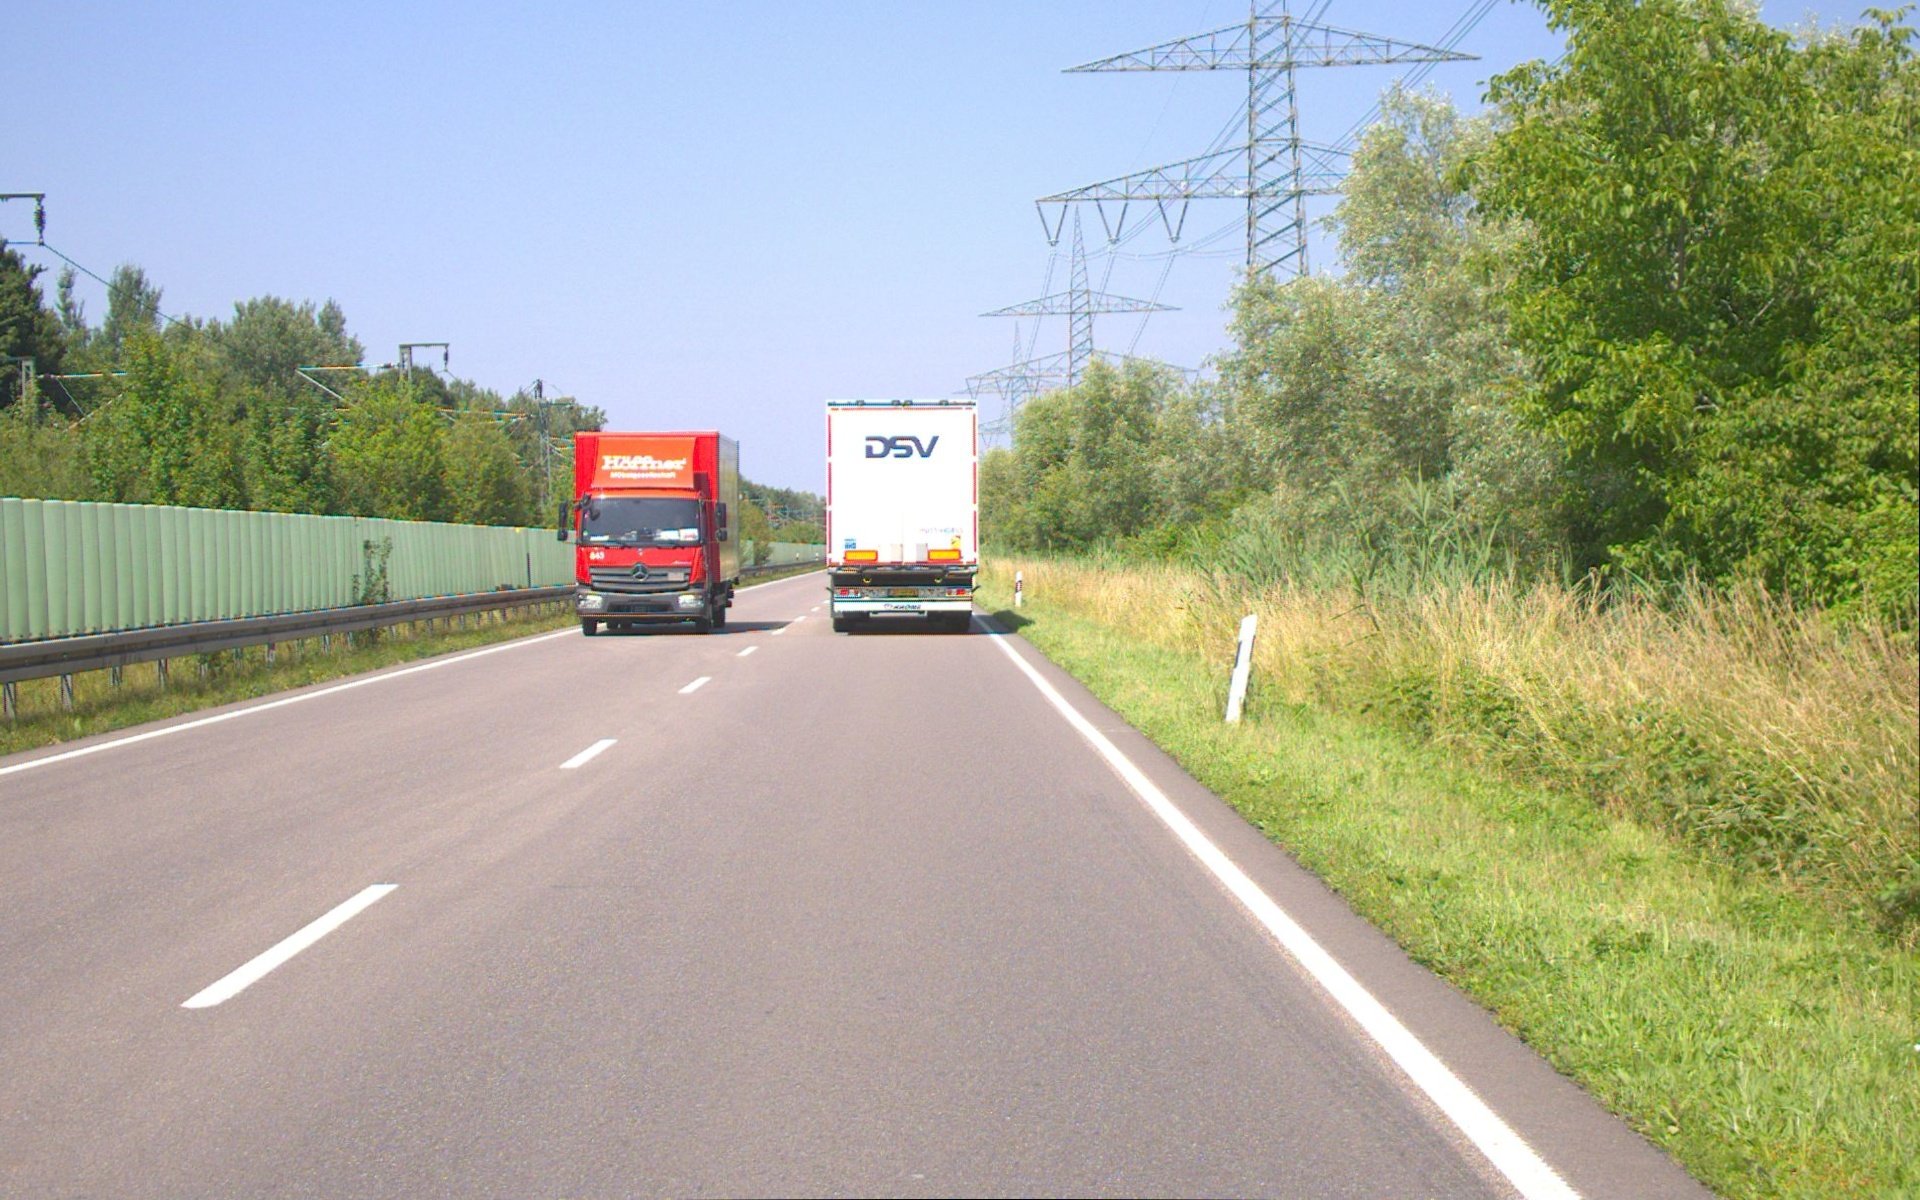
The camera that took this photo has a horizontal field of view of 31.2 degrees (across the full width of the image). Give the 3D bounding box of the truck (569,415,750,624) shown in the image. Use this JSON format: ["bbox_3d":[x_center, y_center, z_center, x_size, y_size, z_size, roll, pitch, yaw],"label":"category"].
[{"bbox_3d":[-5.456,-1.472,63.880,2.734,3.586,9.528,0,1,-1],"label":"truck"}]

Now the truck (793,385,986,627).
[{"bbox_3d":[-1.309,-1.680,63.416,3.192,4.029,12.008,0,1,-1],"label":"truck"}]
